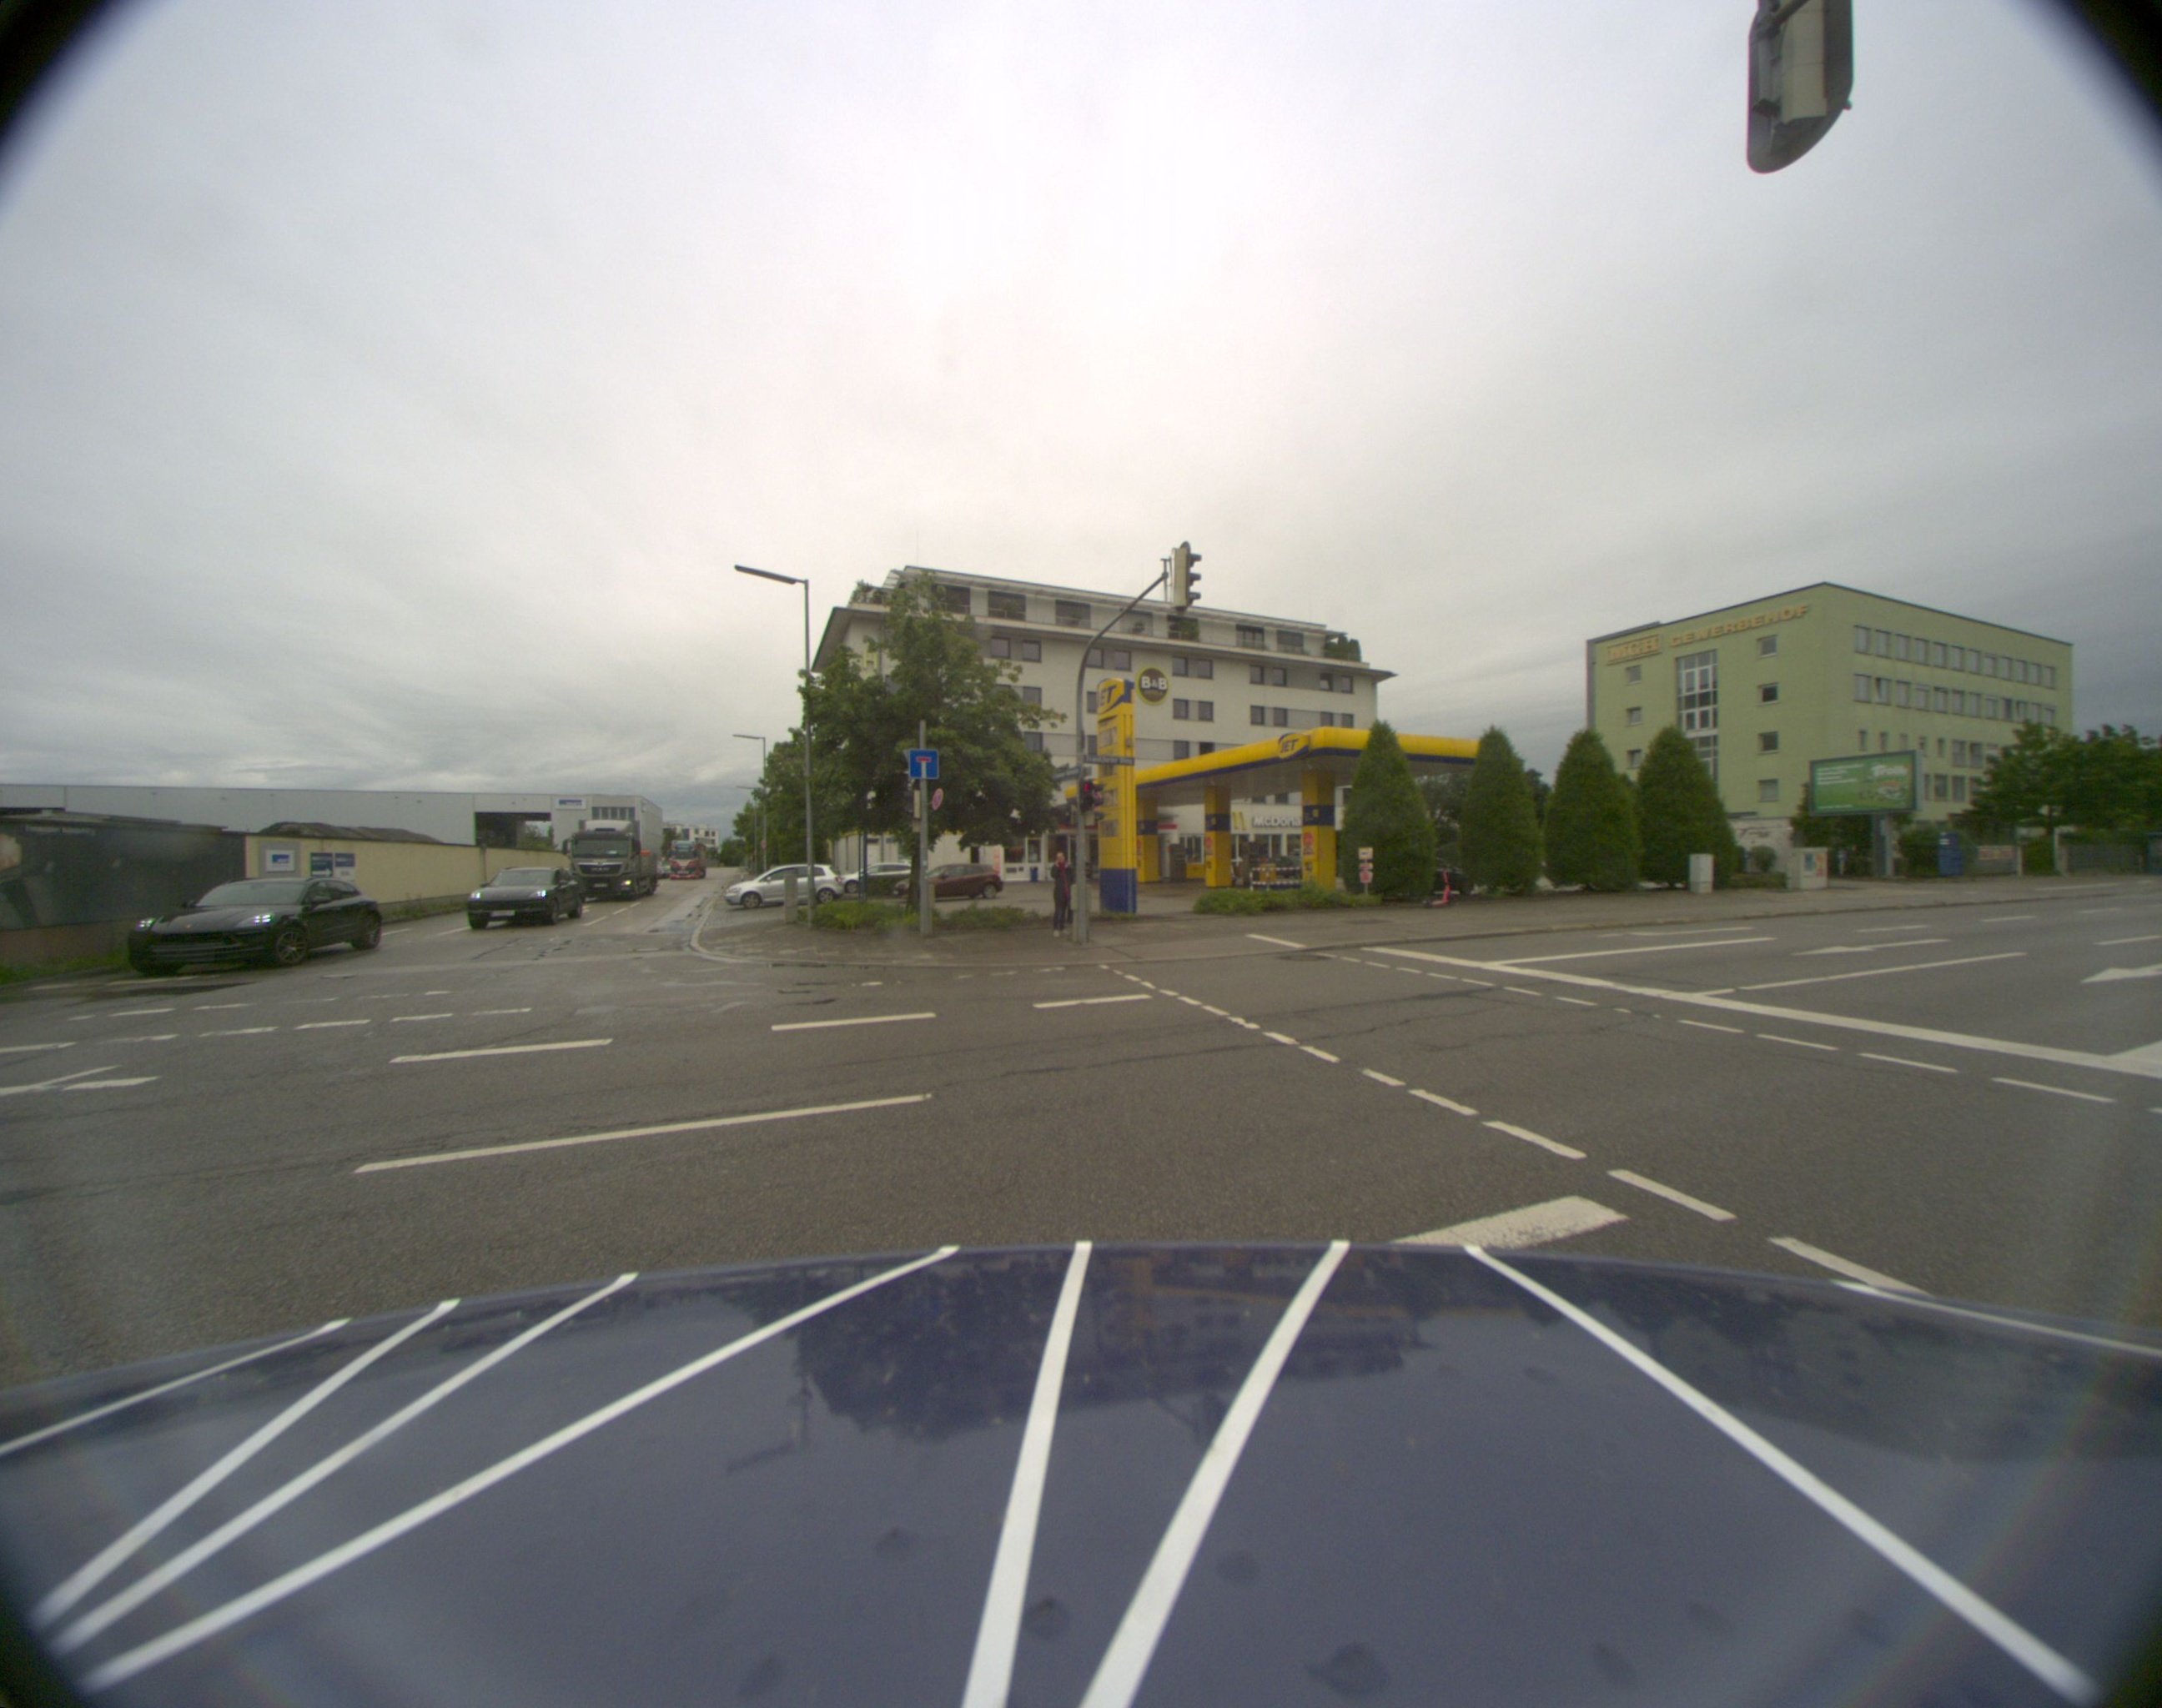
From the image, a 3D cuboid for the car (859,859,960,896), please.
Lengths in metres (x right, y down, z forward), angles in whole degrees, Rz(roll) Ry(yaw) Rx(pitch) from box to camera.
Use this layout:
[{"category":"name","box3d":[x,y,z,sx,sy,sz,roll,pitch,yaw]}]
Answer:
[{"category":"car","box3d":[-7.396,1.003,32.758,3.982,1.477,1.626,-1,-1,-22]}]

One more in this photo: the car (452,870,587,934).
[{"category":"car","box3d":[-16.390,1.315,22.484,2.002,1.524,4.624,-1,1,-21]}]

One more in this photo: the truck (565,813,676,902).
[{"category":"truck","box3d":[-22.991,0.113,38.659,2.612,3.833,11.915,-1,1,-21]}]

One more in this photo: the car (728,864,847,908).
[{"category":"car","box3d":[-10.924,1.142,28.312,3.983,1.477,1.625,-1,-1,-26]}]

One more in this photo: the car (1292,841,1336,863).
[{"category":"car","box3d":[21.570,-0.158,70.495,1.724,1.931,3.994,-1,-1,-21]}]

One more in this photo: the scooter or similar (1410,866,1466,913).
[{"category":"scooter or similar","box3d":[9.877,0.967,21.020,1.546,1.236,0.356,-1,3,-19]}]

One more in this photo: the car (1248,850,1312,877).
[{"category":"car","box3d":[12.251,0.548,46.995,1.709,1.578,3.992,-1,0,-25]}]

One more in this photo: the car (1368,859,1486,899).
[{"category":"car","box3d":[12.823,0.893,28.178,4.005,1.324,1.797,-1,-1,-25]}]

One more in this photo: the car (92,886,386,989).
[{"category":"car","box3d":[-15.621,1.441,14.514,2.002,1.419,4.256,-1,1,-21]}]

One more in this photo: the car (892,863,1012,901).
[{"category":"car","box3d":[-5.094,1.073,30.157,4.371,1.376,1.700,-1,-1,-34]}]

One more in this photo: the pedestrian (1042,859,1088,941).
[{"category":"pedestrian","box3d":[-0.331,0.924,15.655,0.688,1.606,0.803,-1,3,-24]}]

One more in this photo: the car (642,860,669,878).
[{"category":"car","box3d":[-43.917,1.553,78.461,1.875,1.695,4.096,-1,-1,-23]}]

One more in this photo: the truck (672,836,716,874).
[{"category":"truck","box3d":[-41.375,0.076,81.570,2.882,3.809,11.915,-1,1,-21]}]

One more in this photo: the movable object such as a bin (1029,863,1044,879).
[{"category":"movable object such as a bin","box3d":[-2.700,1.045,46.084,0.688,0.957,0.636,-1,-1,-25]}]

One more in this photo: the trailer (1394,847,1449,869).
[{"category":"trailer","box3d":[26.930,0.361,60.264,1.637,1.640,3.803,-1,-1,-25]}]

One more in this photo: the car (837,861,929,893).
[{"category":"car","box3d":[-9.953,1.143,38.239,4.198,1.469,1.905,-1,-1,-24]}]
